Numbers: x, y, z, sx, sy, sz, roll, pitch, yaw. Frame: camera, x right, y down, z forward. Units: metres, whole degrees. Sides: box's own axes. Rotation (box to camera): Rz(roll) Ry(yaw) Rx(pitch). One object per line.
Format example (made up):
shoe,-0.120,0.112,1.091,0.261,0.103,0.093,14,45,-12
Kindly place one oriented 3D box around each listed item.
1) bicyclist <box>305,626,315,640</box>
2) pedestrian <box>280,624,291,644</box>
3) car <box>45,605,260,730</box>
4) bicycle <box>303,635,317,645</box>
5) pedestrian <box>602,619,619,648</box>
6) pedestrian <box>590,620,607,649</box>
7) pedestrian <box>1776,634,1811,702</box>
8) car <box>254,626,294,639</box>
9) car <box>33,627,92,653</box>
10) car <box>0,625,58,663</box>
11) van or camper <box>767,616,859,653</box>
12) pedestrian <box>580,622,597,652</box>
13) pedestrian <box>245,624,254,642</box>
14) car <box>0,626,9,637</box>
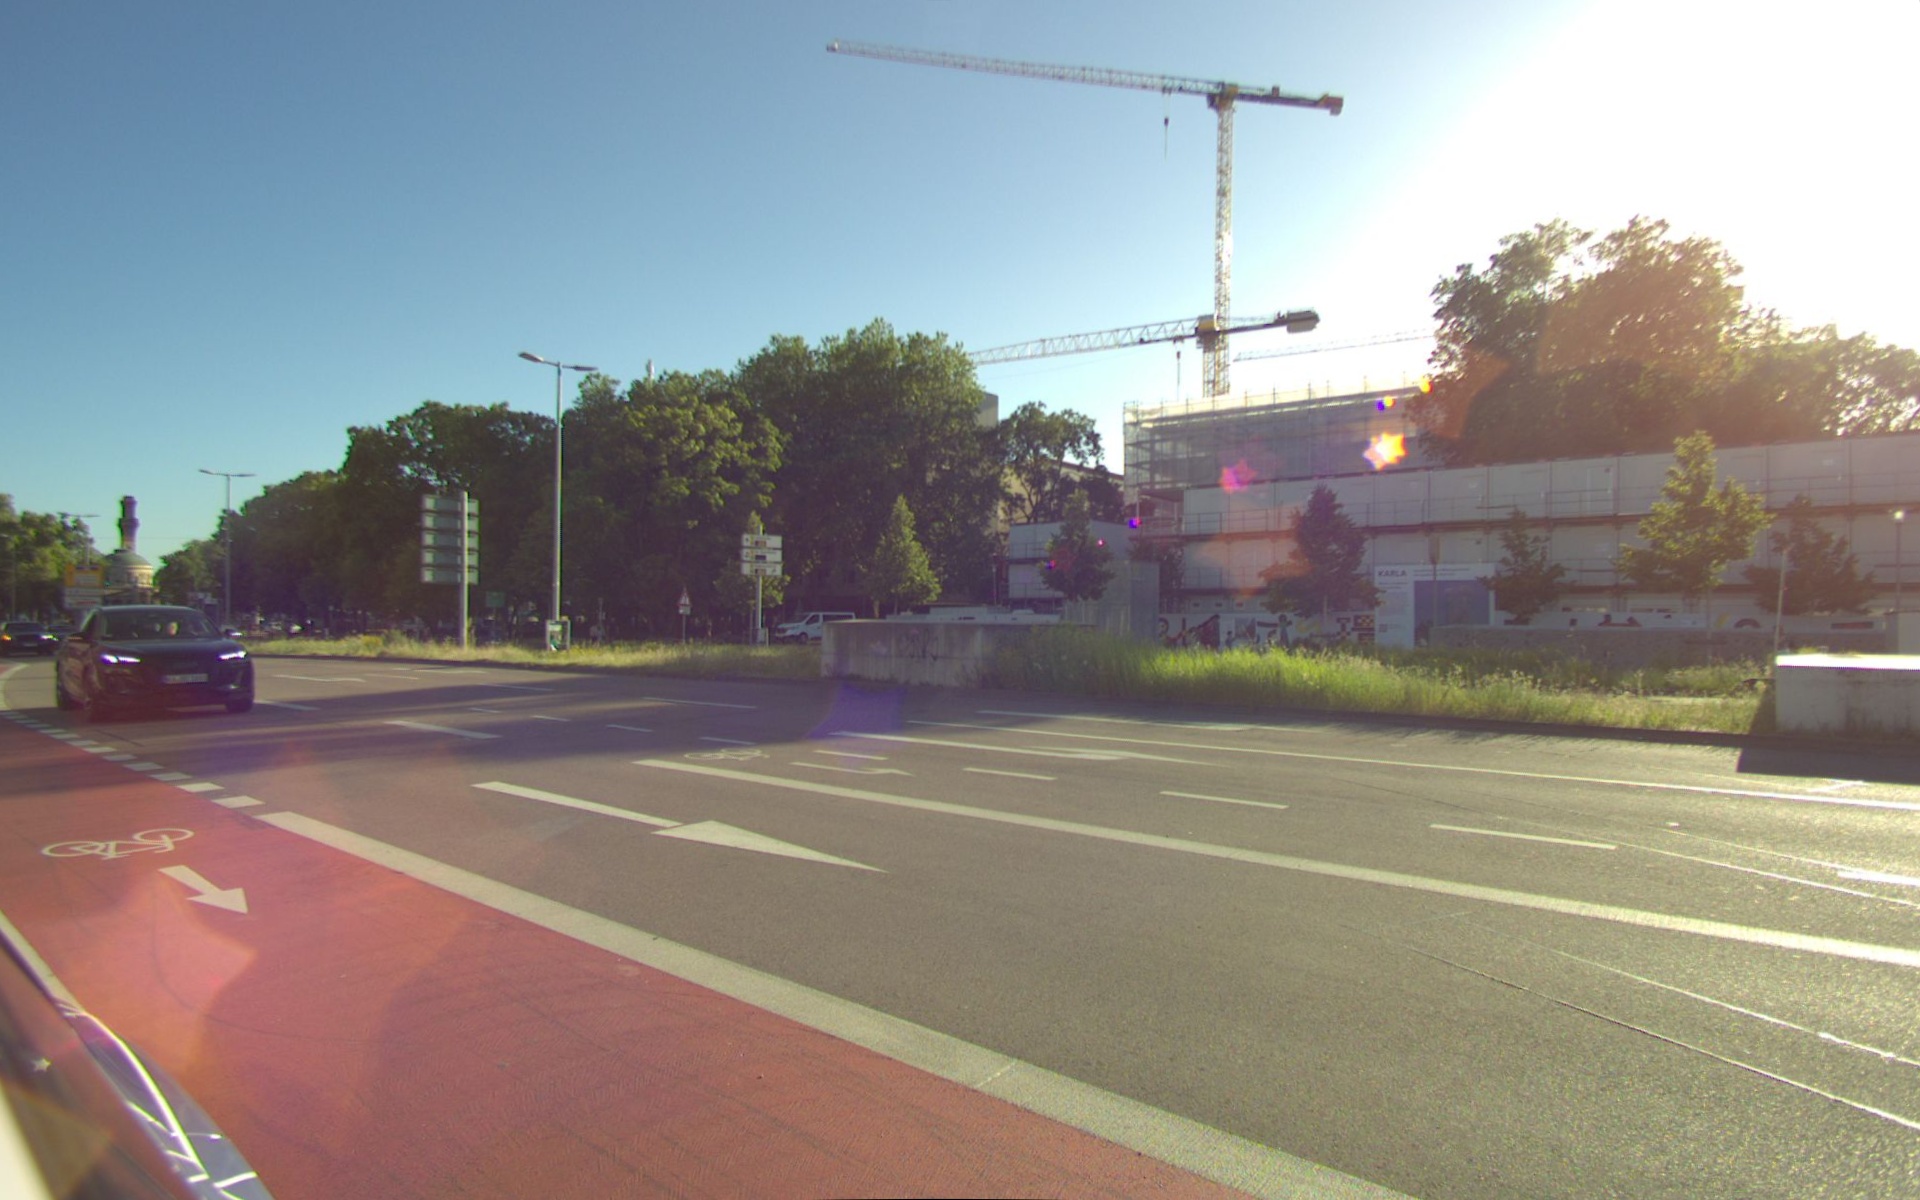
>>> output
bicyclist,-58.327,2.943,90.802,0.714,1.291,0.603,-1,-2,40
pedestrian,-63.806,3.211,95.786,0.924,1.862,0.620,-1,-2,40
car,-12.606,0.943,15.685,4.616,1.656,1.912,-1,-1,43
bicycle,-58.328,3.568,90.784,1.744,0.849,0.602,-1,-2,40
pedestrian,-21.239,2.014,61.484,0.761,1.738,0.699,-1,-2,37
pedestrian,-21.724,2.051,60.857,0.762,1.738,0.656,-1,-2,41
pedestrian,21.073,1.697,25.584,0.626,1.665,0.930,-1,-2,41
car,-82.388,3.867,121.608,1.974,1.519,3.994,0,-1,4
car,-51.765,2.274,58.356,4.486,1.417,1.973,-1,0,41
car,-44.840,2.088,48.430,4.324,1.732,1.973,-1,-2,41
van or camper,-8.929,2.046,61.947,1.948,2.029,5.576,-1,0,42
pedestrian,-22.076,2.179,60.153,0.762,1.738,0.698,-1,-2,41
pedestrian,-73.116,3.370,104.211,0.733,1.862,0.561,-1,-2,40
car,-123.788,4.029,130.092,3.997,1.409,1.848,-1,-2,40
